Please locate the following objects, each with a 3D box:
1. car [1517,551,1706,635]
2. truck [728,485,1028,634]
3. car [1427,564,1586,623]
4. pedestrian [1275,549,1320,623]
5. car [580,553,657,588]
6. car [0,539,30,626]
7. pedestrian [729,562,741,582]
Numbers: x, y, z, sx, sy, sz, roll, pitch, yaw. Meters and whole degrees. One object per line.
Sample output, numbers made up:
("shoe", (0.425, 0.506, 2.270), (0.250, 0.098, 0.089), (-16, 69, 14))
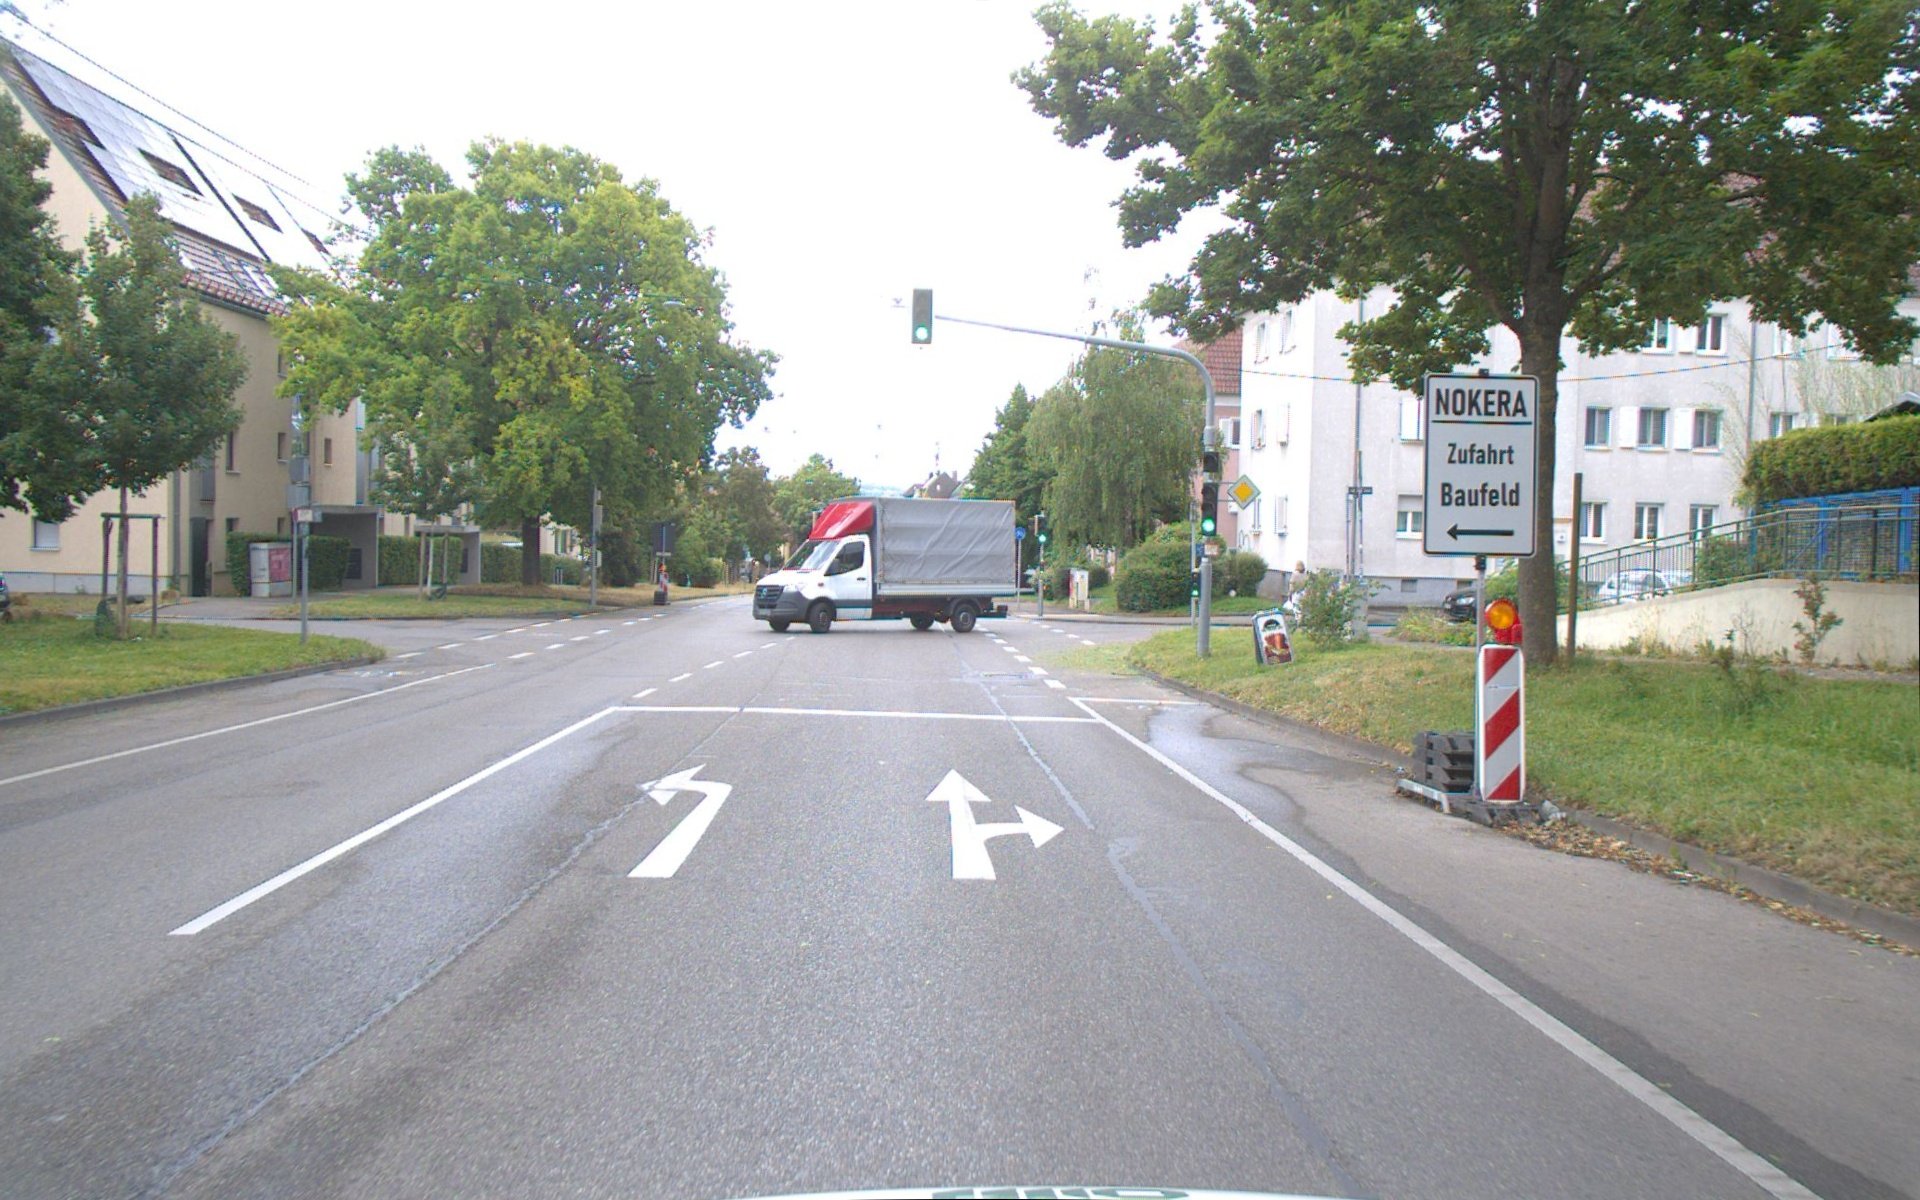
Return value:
("car", (12.946, -0.182, 33.128), (1.834, 1.498, 3.995), (2, 2, -6))
("truck", (-1.904, -0.920, 40.576), (7.172, 3.364, 2.507), (0, 1, -37))
("car", (15.759, -0.190, 47.818), (3.905, 1.563, 2.000), (2, 0, 0))
("pedestrian", (8.811, -0.383, 43.185), (0.736, 1.887, 0.950), (-2, 1, -17))
("car", (-16.694, -1.439, 80.934), (3.381, 1.624, 1.998), (2, 0, -5))
("car", (-22.802, -0.453, 35.100), (4.895, 1.845, 1.998), (2, 0, -5))
("pedestrian", (-19.276, -2.375, 141.602), (0.930, 1.678, 1.041), (2, 0, -9))
